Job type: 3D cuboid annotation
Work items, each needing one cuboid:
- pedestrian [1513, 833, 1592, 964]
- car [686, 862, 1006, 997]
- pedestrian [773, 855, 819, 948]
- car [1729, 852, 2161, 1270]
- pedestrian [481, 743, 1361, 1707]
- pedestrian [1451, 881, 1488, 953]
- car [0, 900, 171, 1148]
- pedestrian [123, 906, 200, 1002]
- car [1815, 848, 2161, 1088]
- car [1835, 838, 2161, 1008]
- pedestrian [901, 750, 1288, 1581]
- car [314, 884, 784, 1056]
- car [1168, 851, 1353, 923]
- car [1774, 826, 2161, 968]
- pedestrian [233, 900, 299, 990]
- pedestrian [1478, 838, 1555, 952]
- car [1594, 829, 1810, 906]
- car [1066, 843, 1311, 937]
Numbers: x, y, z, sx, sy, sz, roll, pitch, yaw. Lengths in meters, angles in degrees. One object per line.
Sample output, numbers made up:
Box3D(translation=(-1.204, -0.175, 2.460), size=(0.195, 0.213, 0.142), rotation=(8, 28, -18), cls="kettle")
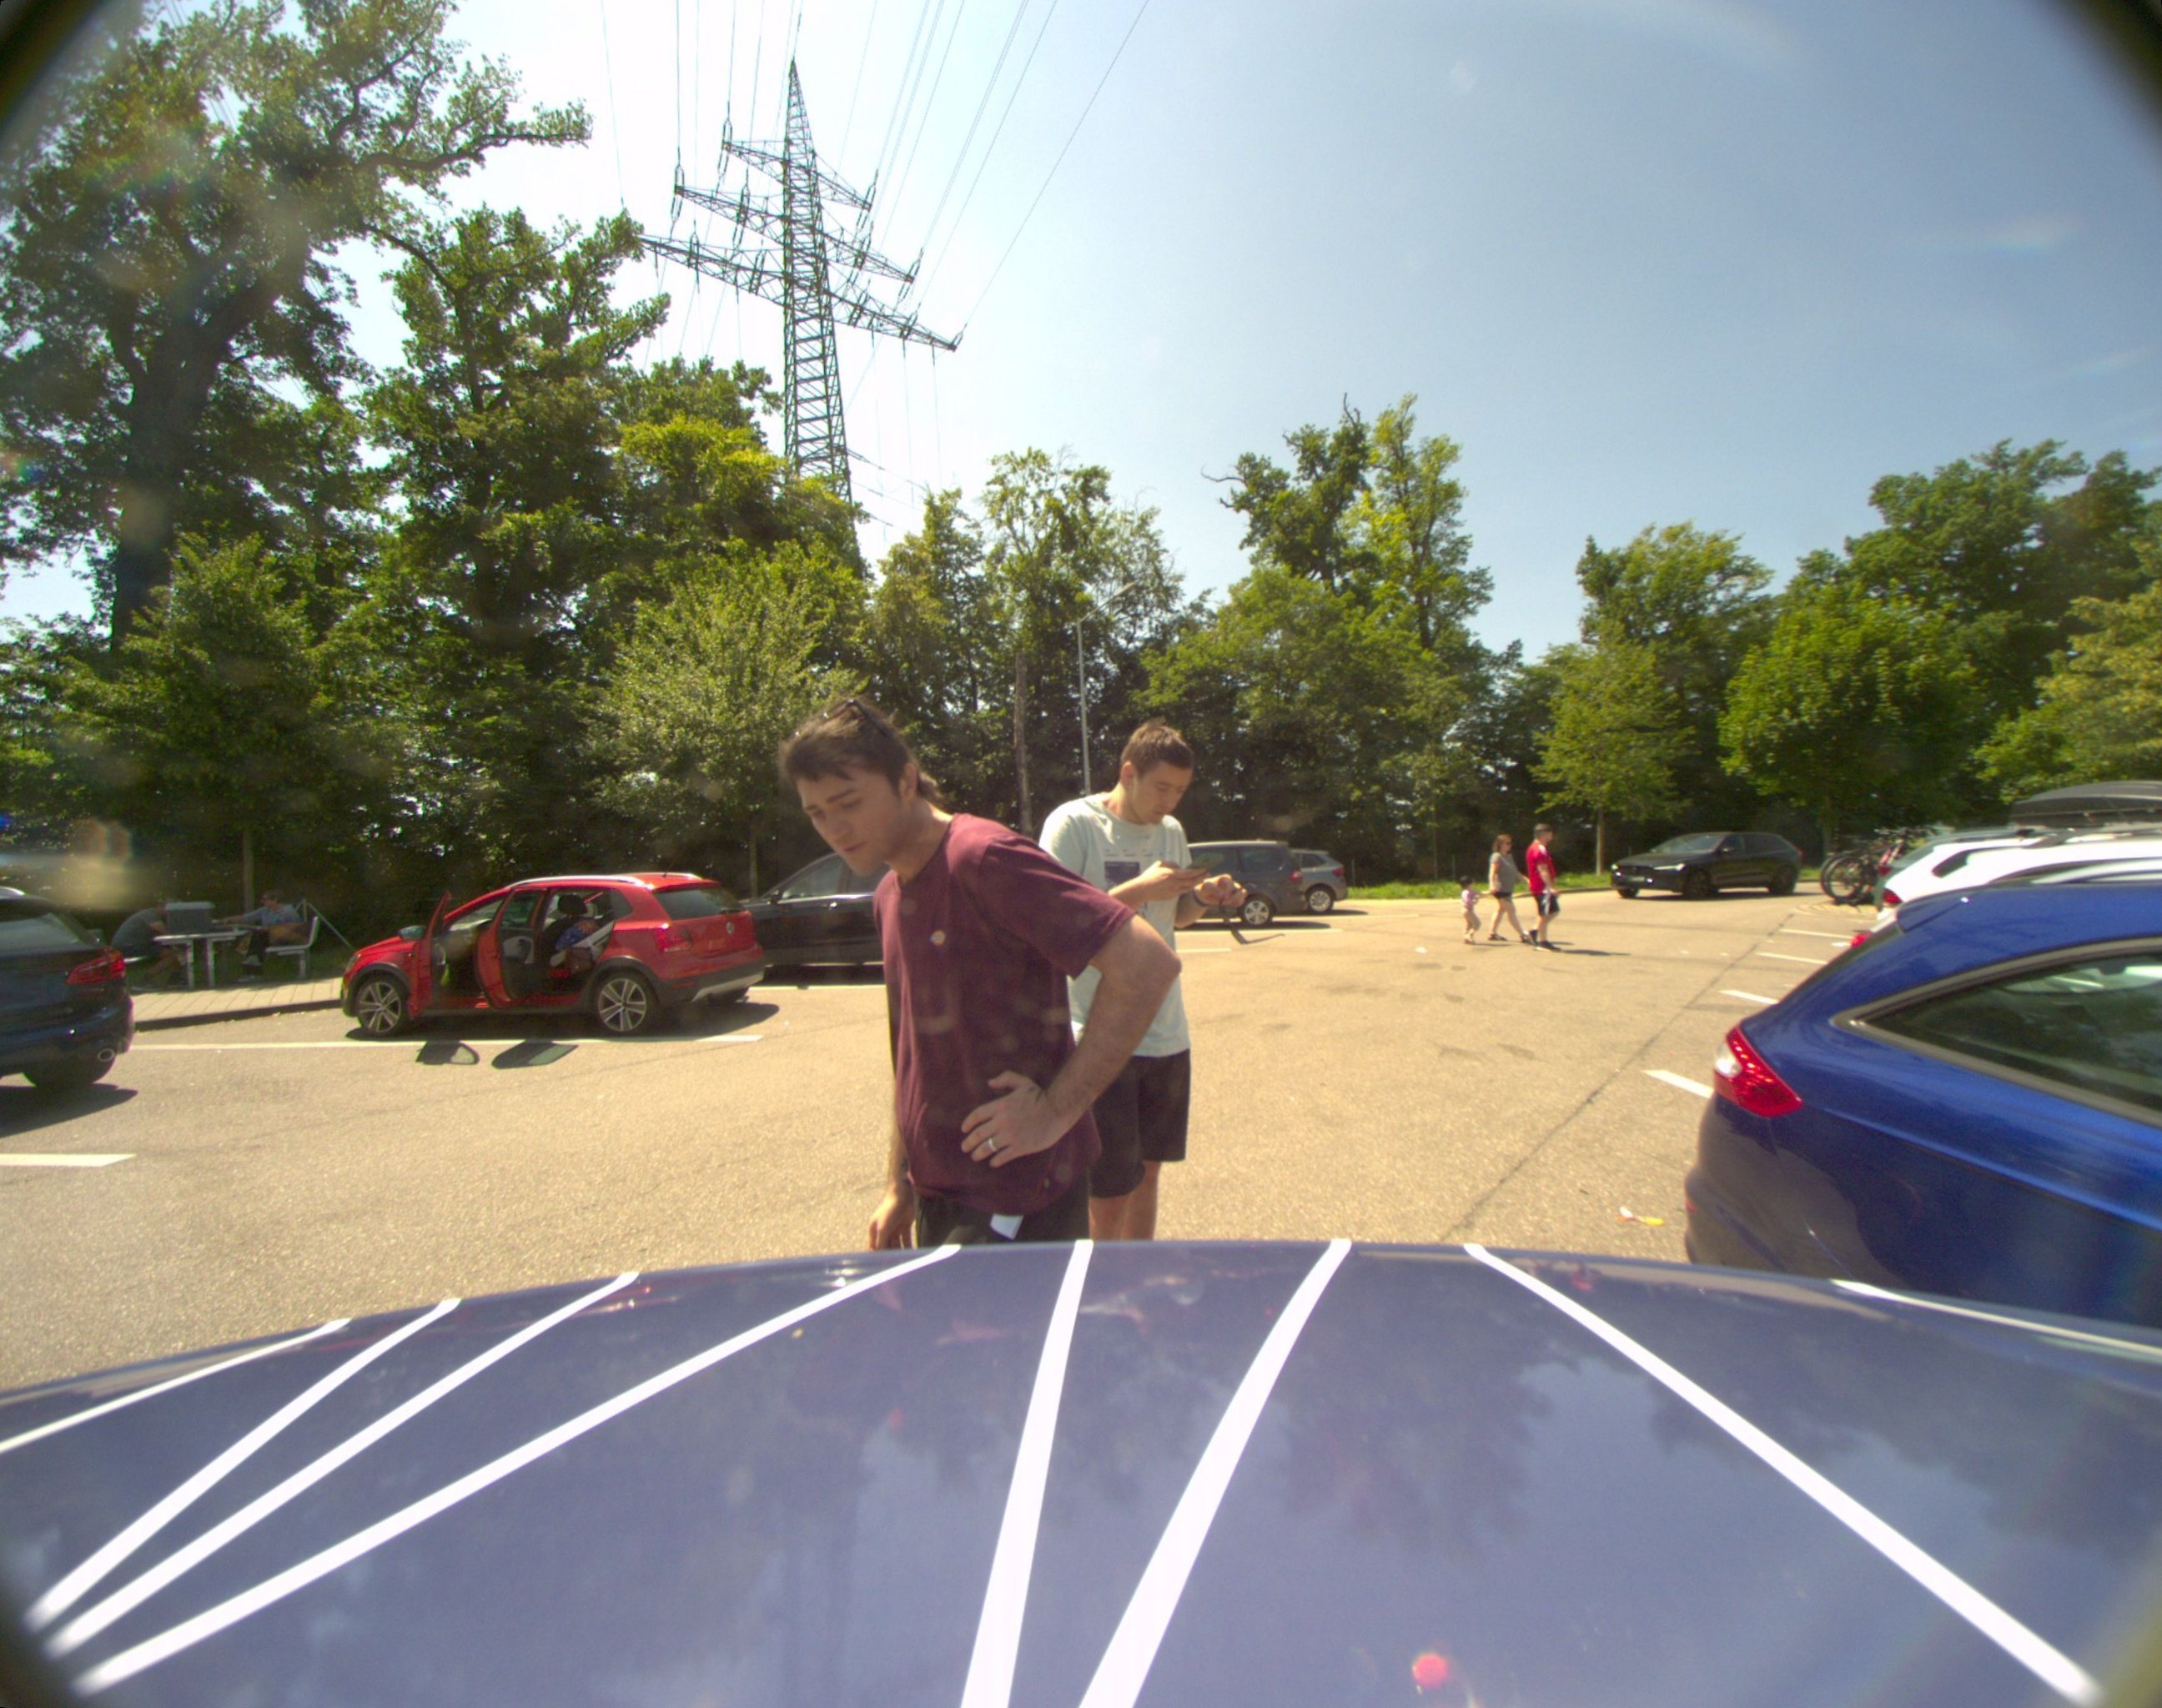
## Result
Box3D(translation=(6.440, 0.592, 10.428), size=(0.831, 1.722, 0.677), rotation=(-2, 1, 27), cls="pedestrian")
Box3D(translation=(-3.025, 0.955, 10.326), size=(3.732, 1.578, 1.739), rotation=(-2, 0, 2), cls="car")
Box3D(translation=(-5.775, 0.952, 15.431), size=(0.520, 1.821, 0.766), rotation=(-2, 1, 5), cls="pedestrian")
Box3D(translation=(4.878, 0.748, 2.364), size=(1.776, 1.491, 4.495), rotation=(-3, -1, -1), cls="car")
Box3D(translation=(-0.188, 0.797, 1.231), size=(0.865, 1.823, 0.860), rotation=(-2, 1, -13), cls="pedestrian")
Box3D(translation=(5.865, 0.945, 11.492), size=(0.433, 1.038, 0.440), rotation=(-2, 0, 22), cls="pedestrian")
Box3D(translation=(-8.878, 1.169, 5.005), size=(3.934, 1.534, 1.812), rotation=(-2, 0, 7), cls="car")
Box3D(translation=(-12.624, 1.347, 10.452), size=(0.695, 1.228, 0.588), rotation=(-3, 0, 43), cls="pedestrian")
Box3D(translation=(7.482, 0.680, 4.522), size=(1.776, 1.418, 4.495), rotation=(-3, -1, -1), cls="car")
Box3D(translation=(10.116, 0.577, 6.908), size=(1.777, 1.418, 4.493), rotation=(-3, -1, -5), cls="car")
Box3D(translation=(0.014, 0.730, 2.163), size=(0.861, 1.940, 0.688), rotation=(-2, 1, -6), cls="pedestrian")
Box3D(translation=(-5.182, 1.097, 7.649), size=(3.730, 1.440, 1.591), rotation=(-2, 0, 7), cls="car")
Box3D(translation=(4.152, 0.748, 18.020), size=(3.996, 1.495, 1.687), rotation=(-2, 1, 3), cls="car")
Box3D(translation=(12.548, 0.483, 10.379), size=(1.777, 1.541, 4.493), rotation=(-3, -1, -5), cls="car")
Box3D(translation=(-11.943, 1.313, 11.141), size=(0.695, 1.228, 0.588), rotation=(-3, 0, 43), cls="pedestrian")
Box3D(translation=(6.565, 0.611, 11.497), size=(0.832, 1.653, 0.676), rotation=(-2, 0, 16), cls="pedestrian")
Box3D(translation=(15.871, 0.301, 19.465), size=(4.620, 1.703, 1.997), rotation=(-2, 1, -16), cls="car")
Box3D(translation=(2.148, 0.718, 15.482), size=(4.619, 1.701, 1.740), rotation=(-2, 0, 9), cls="car")
